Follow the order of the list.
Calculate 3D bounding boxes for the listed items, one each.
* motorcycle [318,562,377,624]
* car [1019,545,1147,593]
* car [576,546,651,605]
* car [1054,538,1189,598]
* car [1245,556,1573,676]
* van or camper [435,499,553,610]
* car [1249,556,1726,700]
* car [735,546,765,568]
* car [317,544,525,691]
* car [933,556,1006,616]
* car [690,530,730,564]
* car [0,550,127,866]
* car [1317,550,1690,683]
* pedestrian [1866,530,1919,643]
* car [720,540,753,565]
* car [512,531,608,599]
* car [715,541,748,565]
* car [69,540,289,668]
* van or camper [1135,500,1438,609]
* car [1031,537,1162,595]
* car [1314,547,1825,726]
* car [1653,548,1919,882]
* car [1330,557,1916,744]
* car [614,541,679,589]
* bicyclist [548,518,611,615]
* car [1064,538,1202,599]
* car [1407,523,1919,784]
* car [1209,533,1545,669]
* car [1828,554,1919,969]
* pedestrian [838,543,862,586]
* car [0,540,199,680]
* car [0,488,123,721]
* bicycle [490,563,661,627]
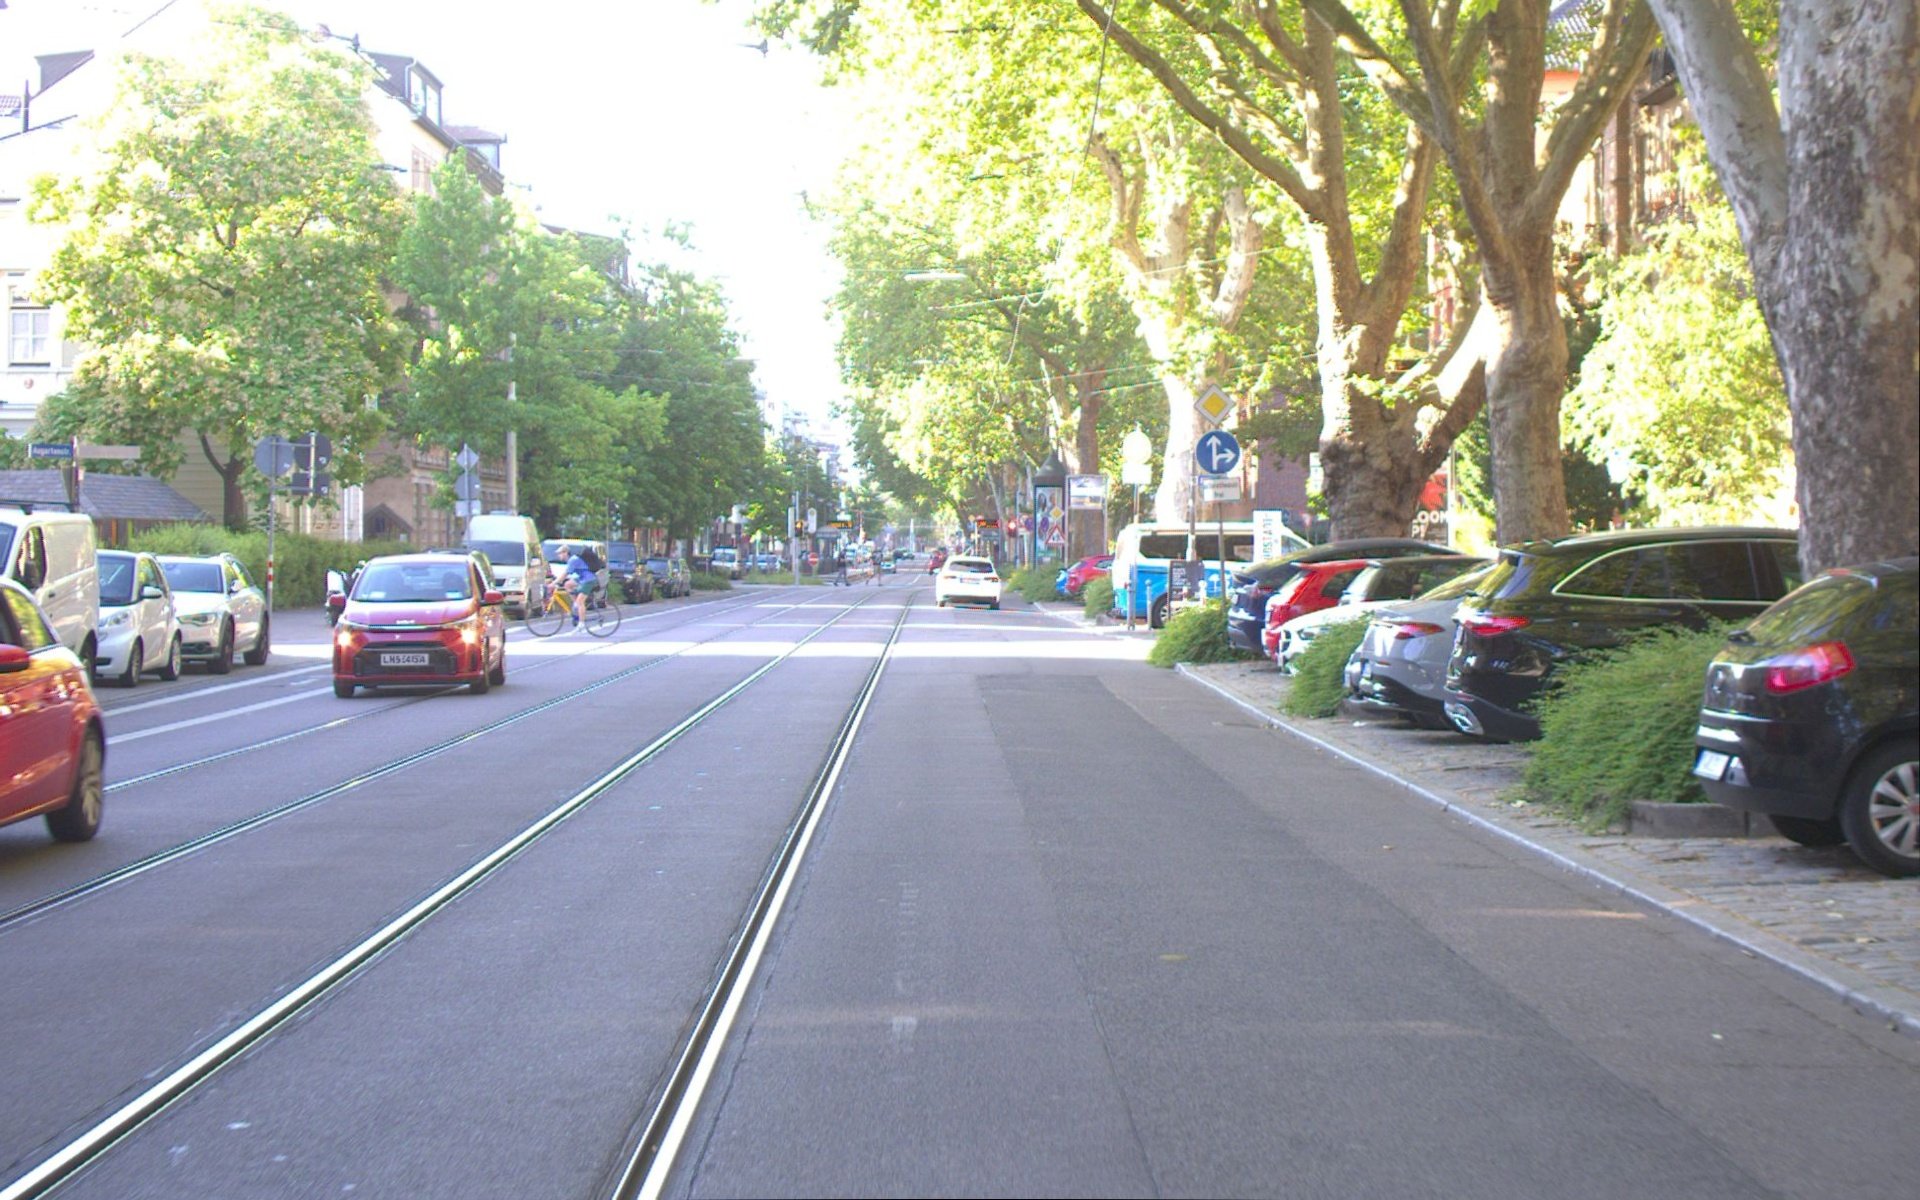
[{"bbox_3d":[-12.060,-0.155,67.750,0.763,1.103,2.330,1,3,0],"label":"motorcycle"},{"bbox_3d":[3.901,-0.988,109.500,3.987,1.515,2.000,0,1,0],"label":"car"},{"bbox_3d":[-11.084,-0.807,110.184,1.993,1.854,4.179,0,1,0],"label":"car"},{"bbox_3d":[4.857,-0.979,103.928,3.987,1.778,2.000,0,1,0],"label":"car"},{"bbox_3d":[5.289,0.171,40.873,3.650,1.373,1.890,0,1,0],"label":"car"},{"bbox_3d":[-10.944,-1.085,81.084,2.079,2.524,5.318,0,1,0],"label":"van or camper"},{"bbox_3d":[5.458,0.276,36.005,4.686,1.441,1.892,0,1,0],"label":"car"},{"bbox_3d":[-13.985,-2.878,228.809,1.918,1.414,3.591,0,1,-3],"label":"car"},{"bbox_3d":[-5.777,0.153,37.235,1.663,1.474,3.951,-1,1,-1],"label":"car"},{"bbox_3d":[0.246,-0.409,95.310,1.918,1.579,3.791,-1,1,-1],"label":"car"},{"bbox_3d":[-12.653,-2.668,174.373,1.918,1.414,3.720,0,-4,-3],"label":"car"},{"bbox_3d":[-5.270,0.505,16.200,1.723,1.432,4.069,-1,1,-1],"label":"car"},{"bbox_3d":[6.035,0.169,38.457,3.882,1.430,1.754,0,1,0],"label":"car"},{"bbox_3d":[12.151,-0.177,44.405,0.661,1.450,0.821,0,1,0],"label":"pedestrian"},{"bbox_3d":[-13.718,-2.901,210.957,1.918,1.414,3.591,-2,0,-5],"label":"car"},{"bbox_3d":[-11.108,-0.987,95.765,2.173,1.854,4.659,0,1,0],"label":"car"},{"bbox_3d":[-13.740,-2.847,206.711,1.918,1.414,3.591,0,1,-3],"label":"car"},{"bbox_3d":[-10.071,0.005,44.699,1.836,1.463,5.070,3,1,-2],"label":"car"},{"bbox_3d":[6.318,-0.901,66.958,5.554,2.006,2.245,0,4,-5],"label":"van or camper"},{"bbox_3d":[4.233,-1.070,107.191,3.987,1.778,2.000,0,1,0],"label":"car"},{"bbox_3d":[5.265,0.294,30.077,4.142,1.504,1.796,0,1,0],"label":"car"},{"bbox_3d":[5.405,0.511,16.397,3.838,1.504,1.711,0,1,0],"label":"car"},{"bbox_3d":[5.244,0.379,27.614,4.295,1.434,1.948,0,1,-1],"label":"car"},{"bbox_3d":[-11.490,-1.304,126.105,1.993,1.739,4.659,0,1,0],"label":"car"},{"bbox_3d":[-6.701,-0.599,60.559,1.045,1.700,1.058,0,1,-10],"label":"bicyclist"},{"bbox_3d":[5.096,-0.946,101.645,3.987,1.778,2.000,0,1,0],"label":"car"},{"bbox_3d":[5.357,0.312,23.134,4.497,1.596,2.027,-2,1,4],"label":"car"},{"bbox_3d":[5.183,-0.004,43.095,3.923,1.664,1.961,0,1,-2],"label":"car"},{"bbox_3d":[5.553,0.580,12.594,4.247,1.478,1.898,0,1,0],"label":"car"},{"bbox_3d":[-5.247,-1.685,163.585,1.048,2.007,1.081,0,1,3],"label":"pedestrian"},{"bbox_3d":[-10.077,0.092,40.224,1.572,1.521,3.040,2,1,1],"label":"car"},{"bbox_3d":[-9.882,-0.052,34.155,1.952,2.084,5.249,3,2,-2],"label":"car"},{"bbox_3d":[-6.778,-0.096,60.546,2.947,1.101,1.052,0,1,-9],"label":"bicycle"}]
